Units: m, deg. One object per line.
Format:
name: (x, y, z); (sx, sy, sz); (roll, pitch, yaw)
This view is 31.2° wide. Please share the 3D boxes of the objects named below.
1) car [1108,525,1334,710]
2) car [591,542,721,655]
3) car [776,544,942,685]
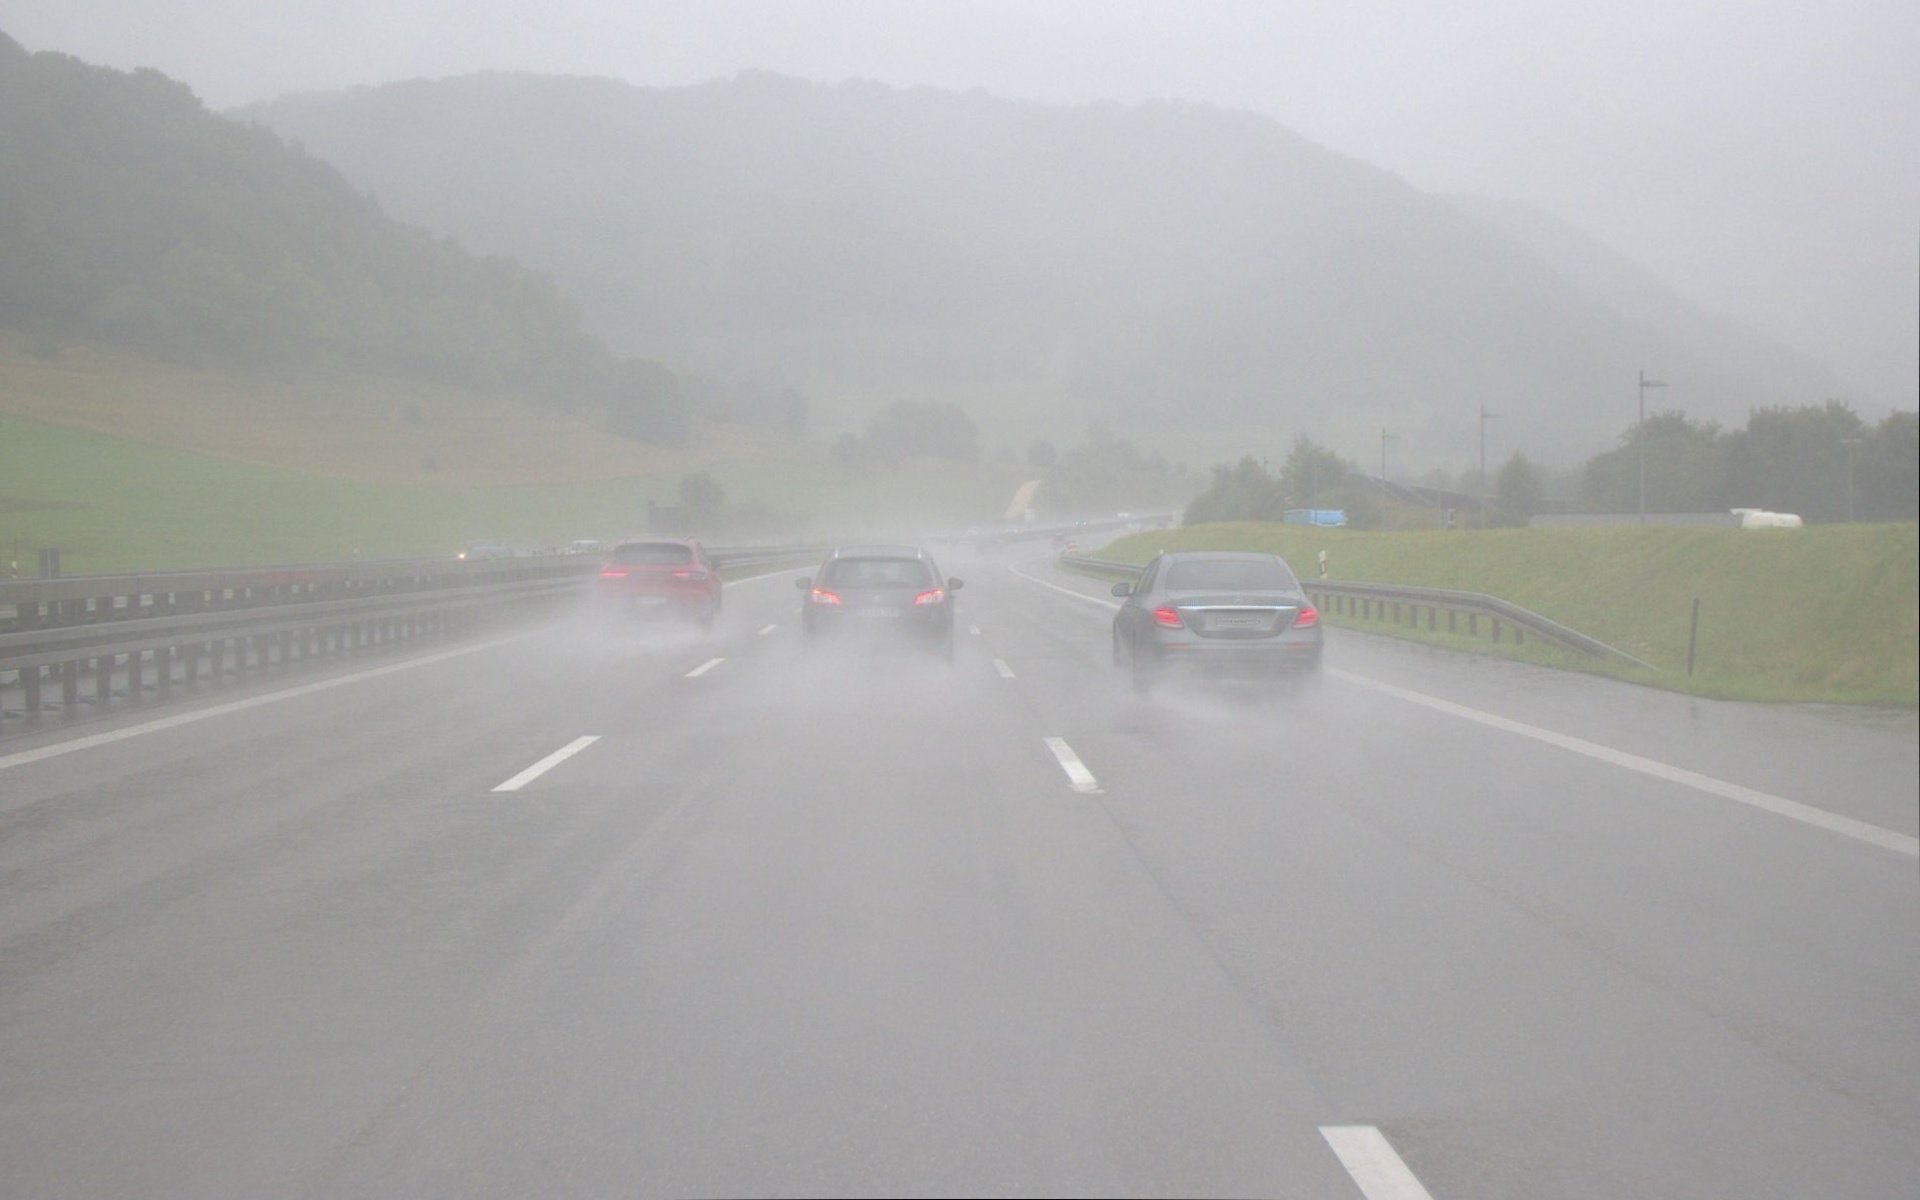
car: (2.580, 0.125, 34.867); (1.971, 1.754, 4.000); (0, 1, 0)
car: (-5.029, -0.057, 57.238); (1.884, 1.809, 4.000); (0, 1, -1)
car: (-1.167, 0.140, 41.261); (1.859, 1.584, 4.000); (1, 1, 0)
